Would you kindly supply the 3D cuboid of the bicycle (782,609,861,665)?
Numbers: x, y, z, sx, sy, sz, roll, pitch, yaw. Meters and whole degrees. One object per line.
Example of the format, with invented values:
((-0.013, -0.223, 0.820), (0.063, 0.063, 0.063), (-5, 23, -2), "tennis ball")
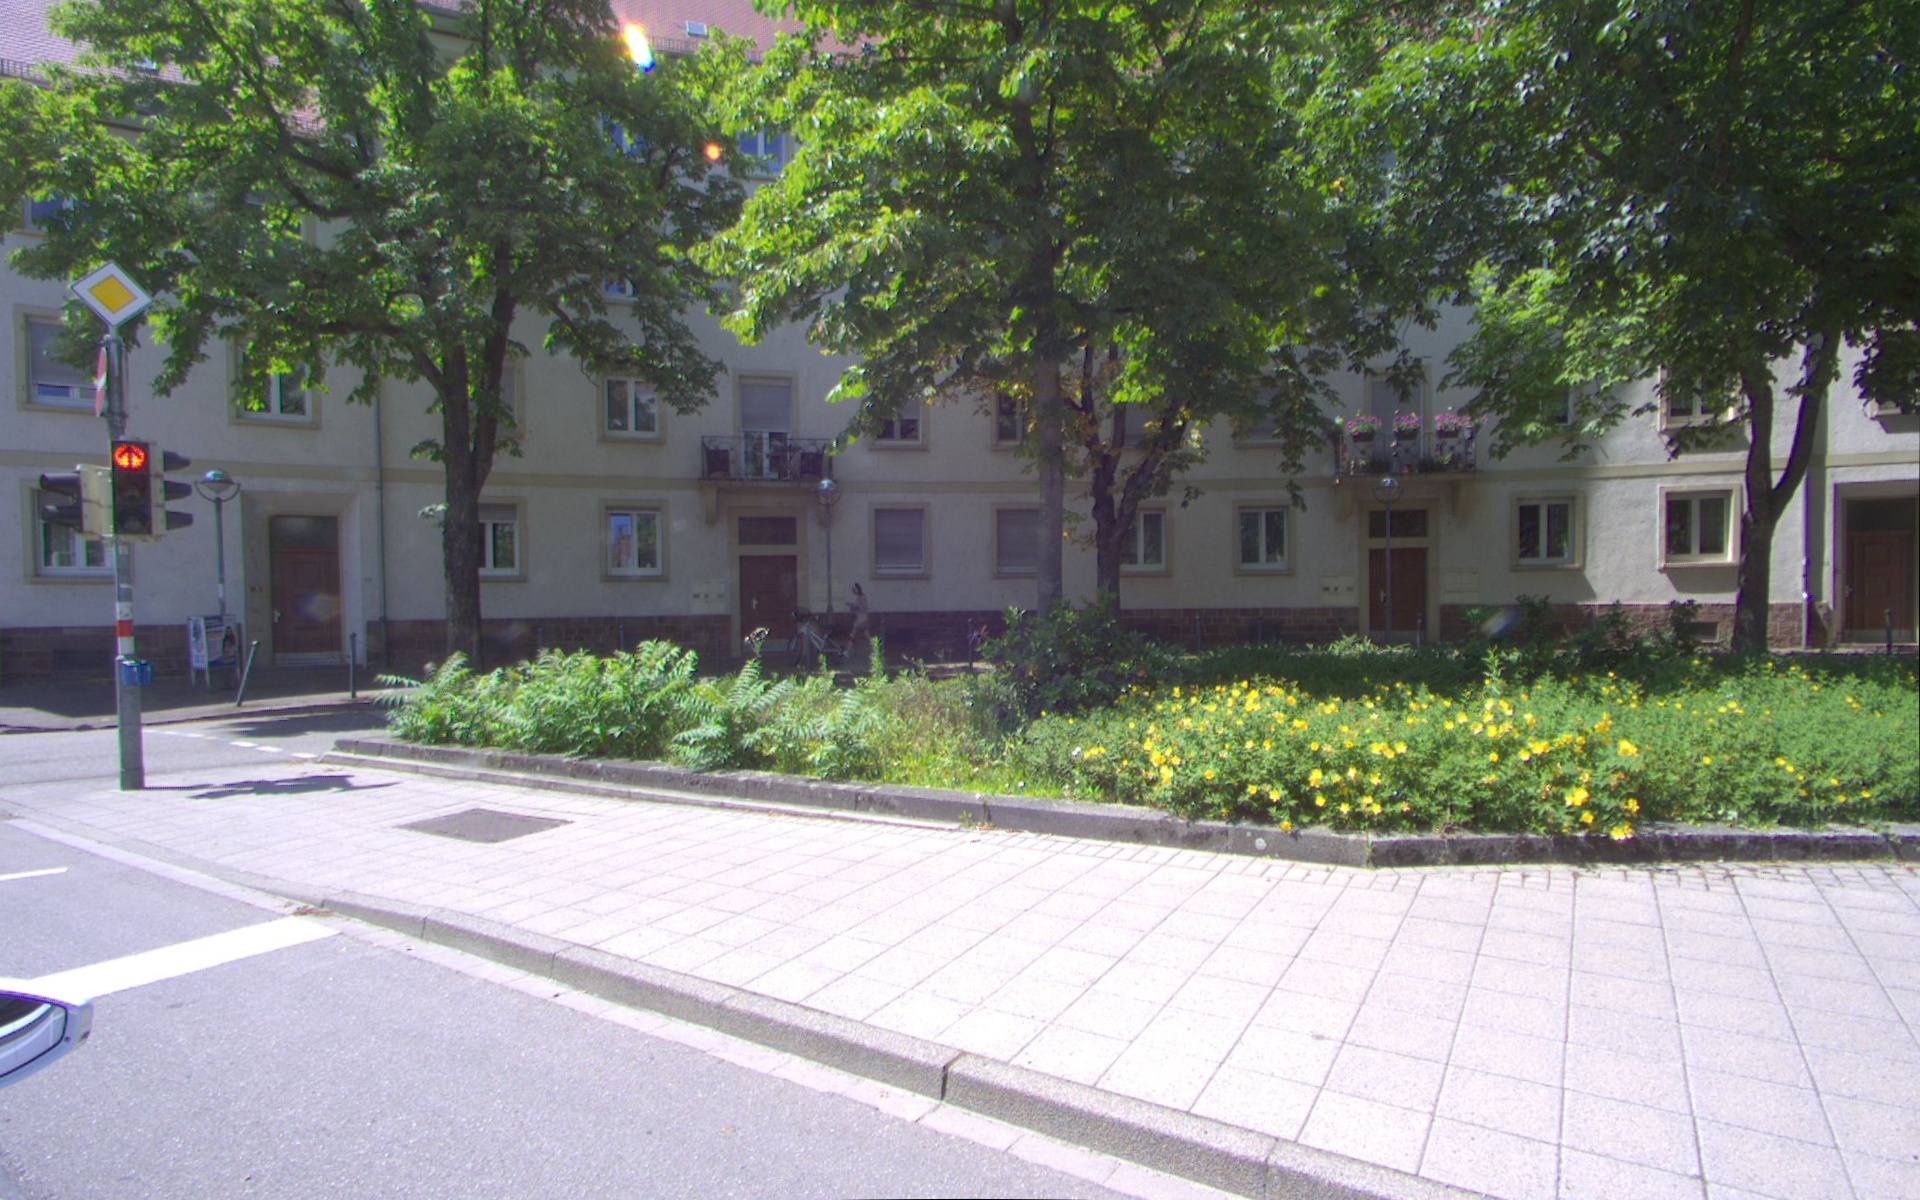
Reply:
((-2.880, 0.758, 20.865), (1.575, 1.119, 0.525), (-1, 1, -4), "bicycle")

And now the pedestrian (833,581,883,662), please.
((-2.312, 0.473, 22.591), (1.037, 1.715, 0.652), (-2, 6, -10), "pedestrian")
